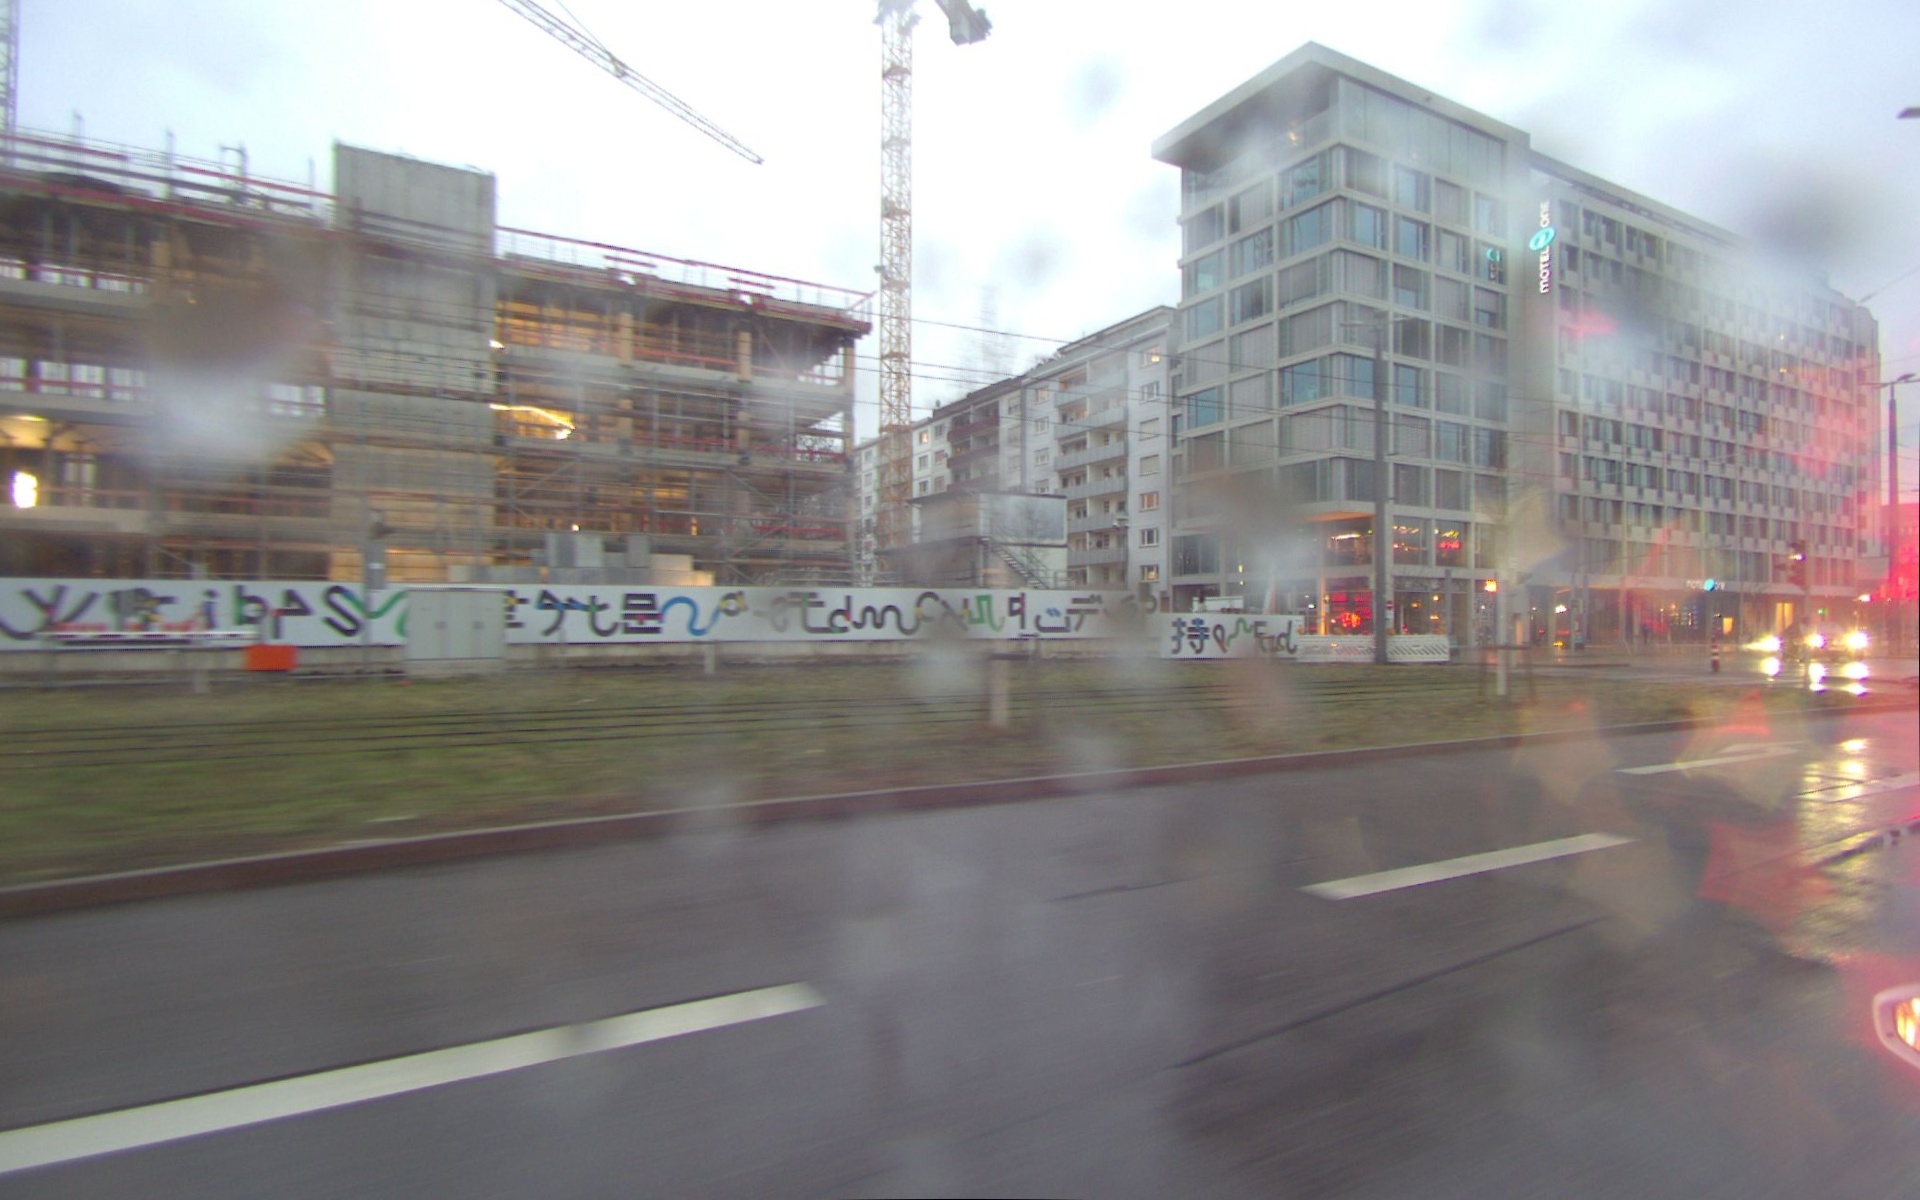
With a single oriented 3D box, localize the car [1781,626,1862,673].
[{"bbox_3d":[34.746,1.955,40.623,1.869,1.743,4.698,1,-1,34],"label":"car"}]
